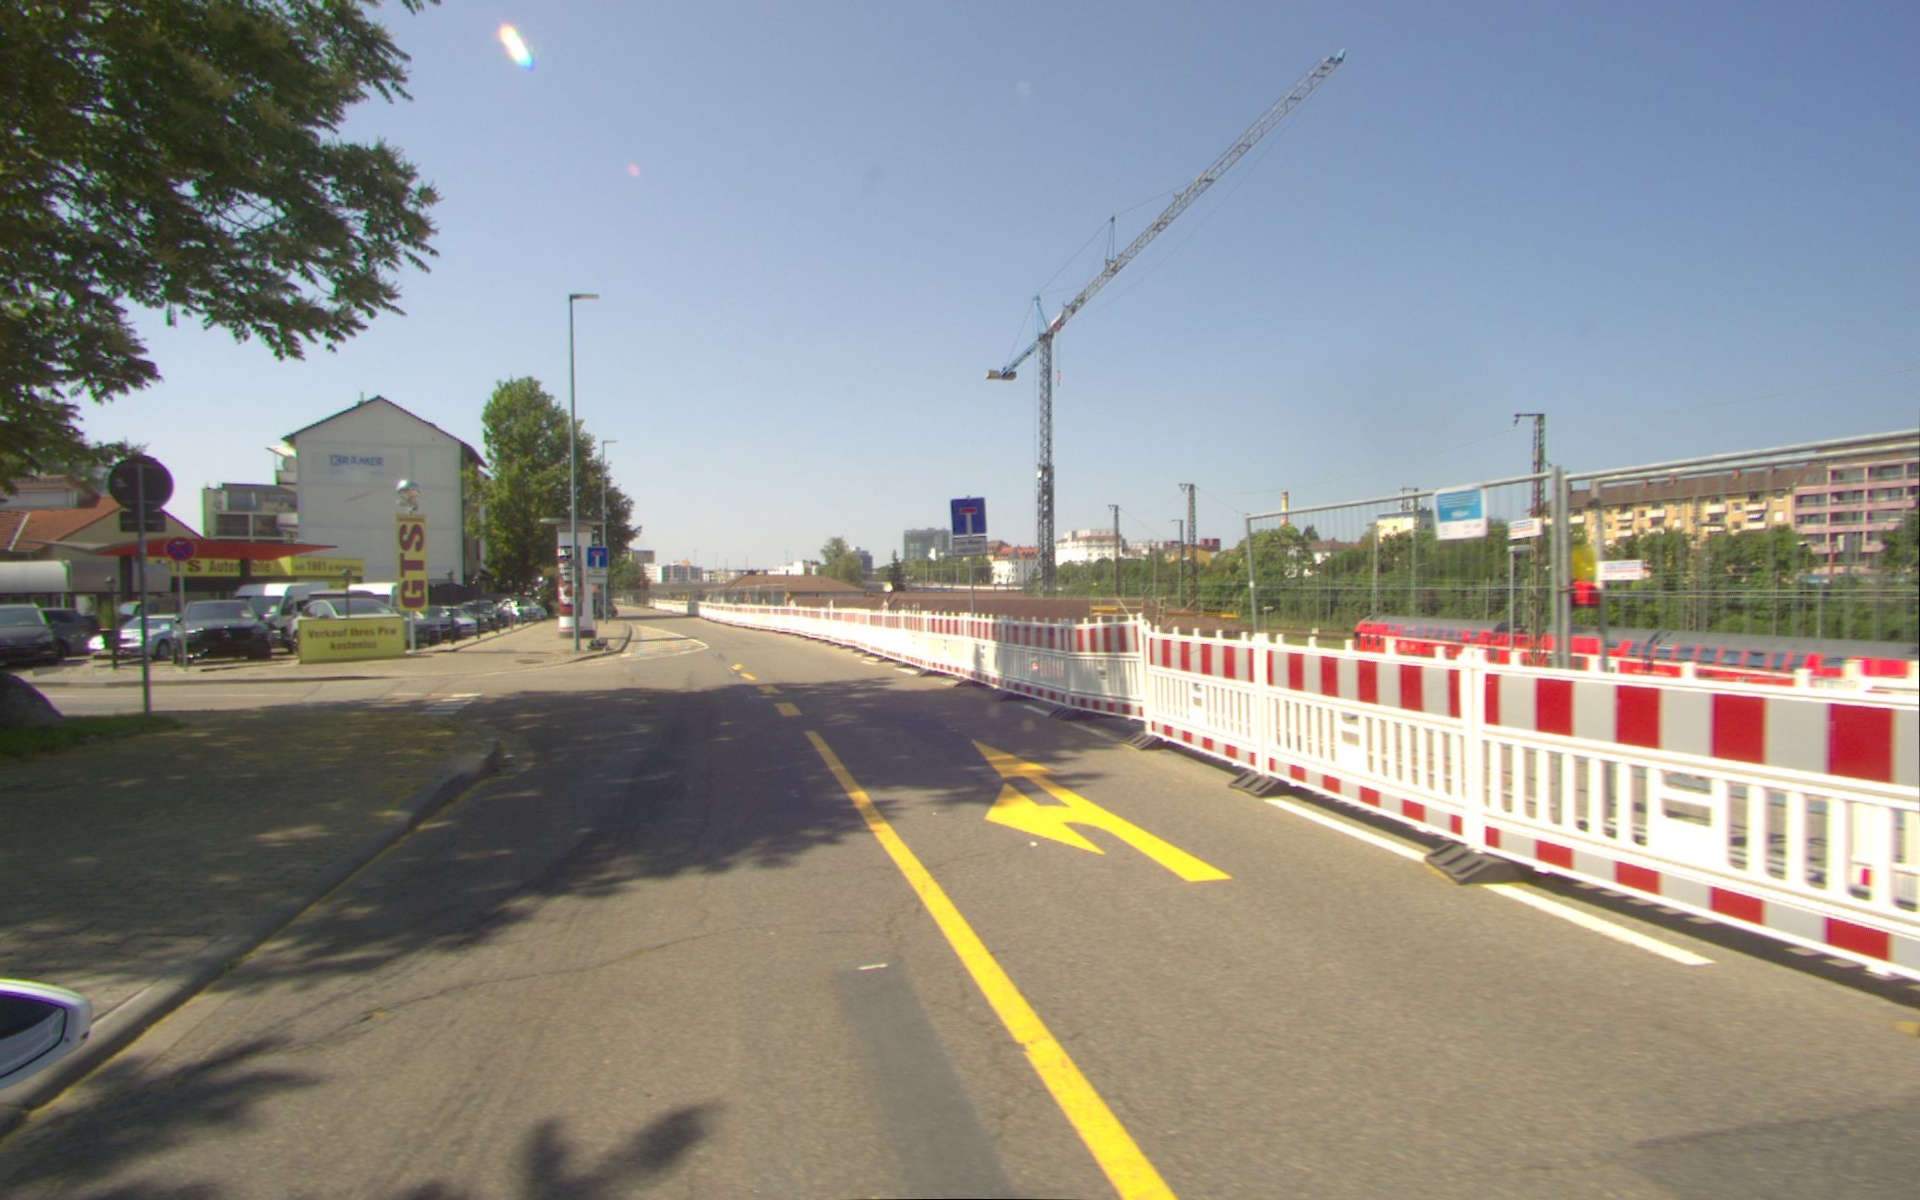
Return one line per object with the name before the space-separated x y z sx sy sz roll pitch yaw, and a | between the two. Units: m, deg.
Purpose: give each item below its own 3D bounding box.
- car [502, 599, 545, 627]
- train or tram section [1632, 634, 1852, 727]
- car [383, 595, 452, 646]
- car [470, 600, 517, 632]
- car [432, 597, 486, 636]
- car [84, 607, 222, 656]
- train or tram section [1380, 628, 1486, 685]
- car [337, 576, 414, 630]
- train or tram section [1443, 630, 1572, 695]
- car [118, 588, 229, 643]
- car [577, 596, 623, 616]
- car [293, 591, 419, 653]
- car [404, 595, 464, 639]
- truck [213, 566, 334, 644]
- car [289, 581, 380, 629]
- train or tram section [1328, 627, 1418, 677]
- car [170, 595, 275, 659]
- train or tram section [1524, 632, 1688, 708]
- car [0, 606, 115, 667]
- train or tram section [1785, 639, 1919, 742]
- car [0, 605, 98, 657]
car | -26.836 0.779 61.505 1.837 1.651 3.976 0 0 -32
train or tram section | 36.972 3.662 47.941 2.966 3.751 8.972 2 -1 -4
car | -18.851 0.679 34.717 1.837 1.651 3.976 0 0 -32
car | -24.981 0.838 53.578 1.837 1.651 3.976 0 0 -32
car | -22.700 0.717 45.319 1.837 1.651 3.976 0 0 -32
car | -26.147 0.994 32.625 1.760 1.506 3.998 0 -1 -10
train or tram section | 35.119 4.101 74.794 2.966 3.751 8.972 2 -1 -5
car | -26.399 0.131 45.384 2.106 2.315 4.699 0 0 -19
train or tram section | 35.765 3.964 65.883 2.966 3.751 8.972 2 -1 -4
car | -31.012 0.630 39.669 1.965 2.040 4.487 0 -1 -17
car | -29.660 0.510 82.570 1.701 1.659 3.265 0 -1 31
car | -18.084 0.640 29.930 3.950 1.748 1.986 0 -1 38
car | -21.032 0.639 39.981 1.837 1.651 3.976 0 0 -32
truck | -28.069 0.231 41.224 2.235 2.942 5.934 1 0 -15
car | -24.626 0.215 39.620 1.850 1.761 4.713 1 0 -16
train or tram section | 34.352 4.241 83.747 2.966 3.751 8.971 2 -1 -5
car | -20.302 0.705 27.494 2.031 1.615 4.385 1 -1 -40
train or tram section | 36.363 3.799 56.918 2.966 3.751 8.972 2 -1 -4
car | -24.747 0.943 26.908 1.763 1.529 3.991 0 -1 -19
train or tram section | 37.493 3.527 38.964 2.966 3.751 8.973 2 -1 -3
car | -29.927 0.956 31.221 1.973 1.605 4.309 0 -1 34
